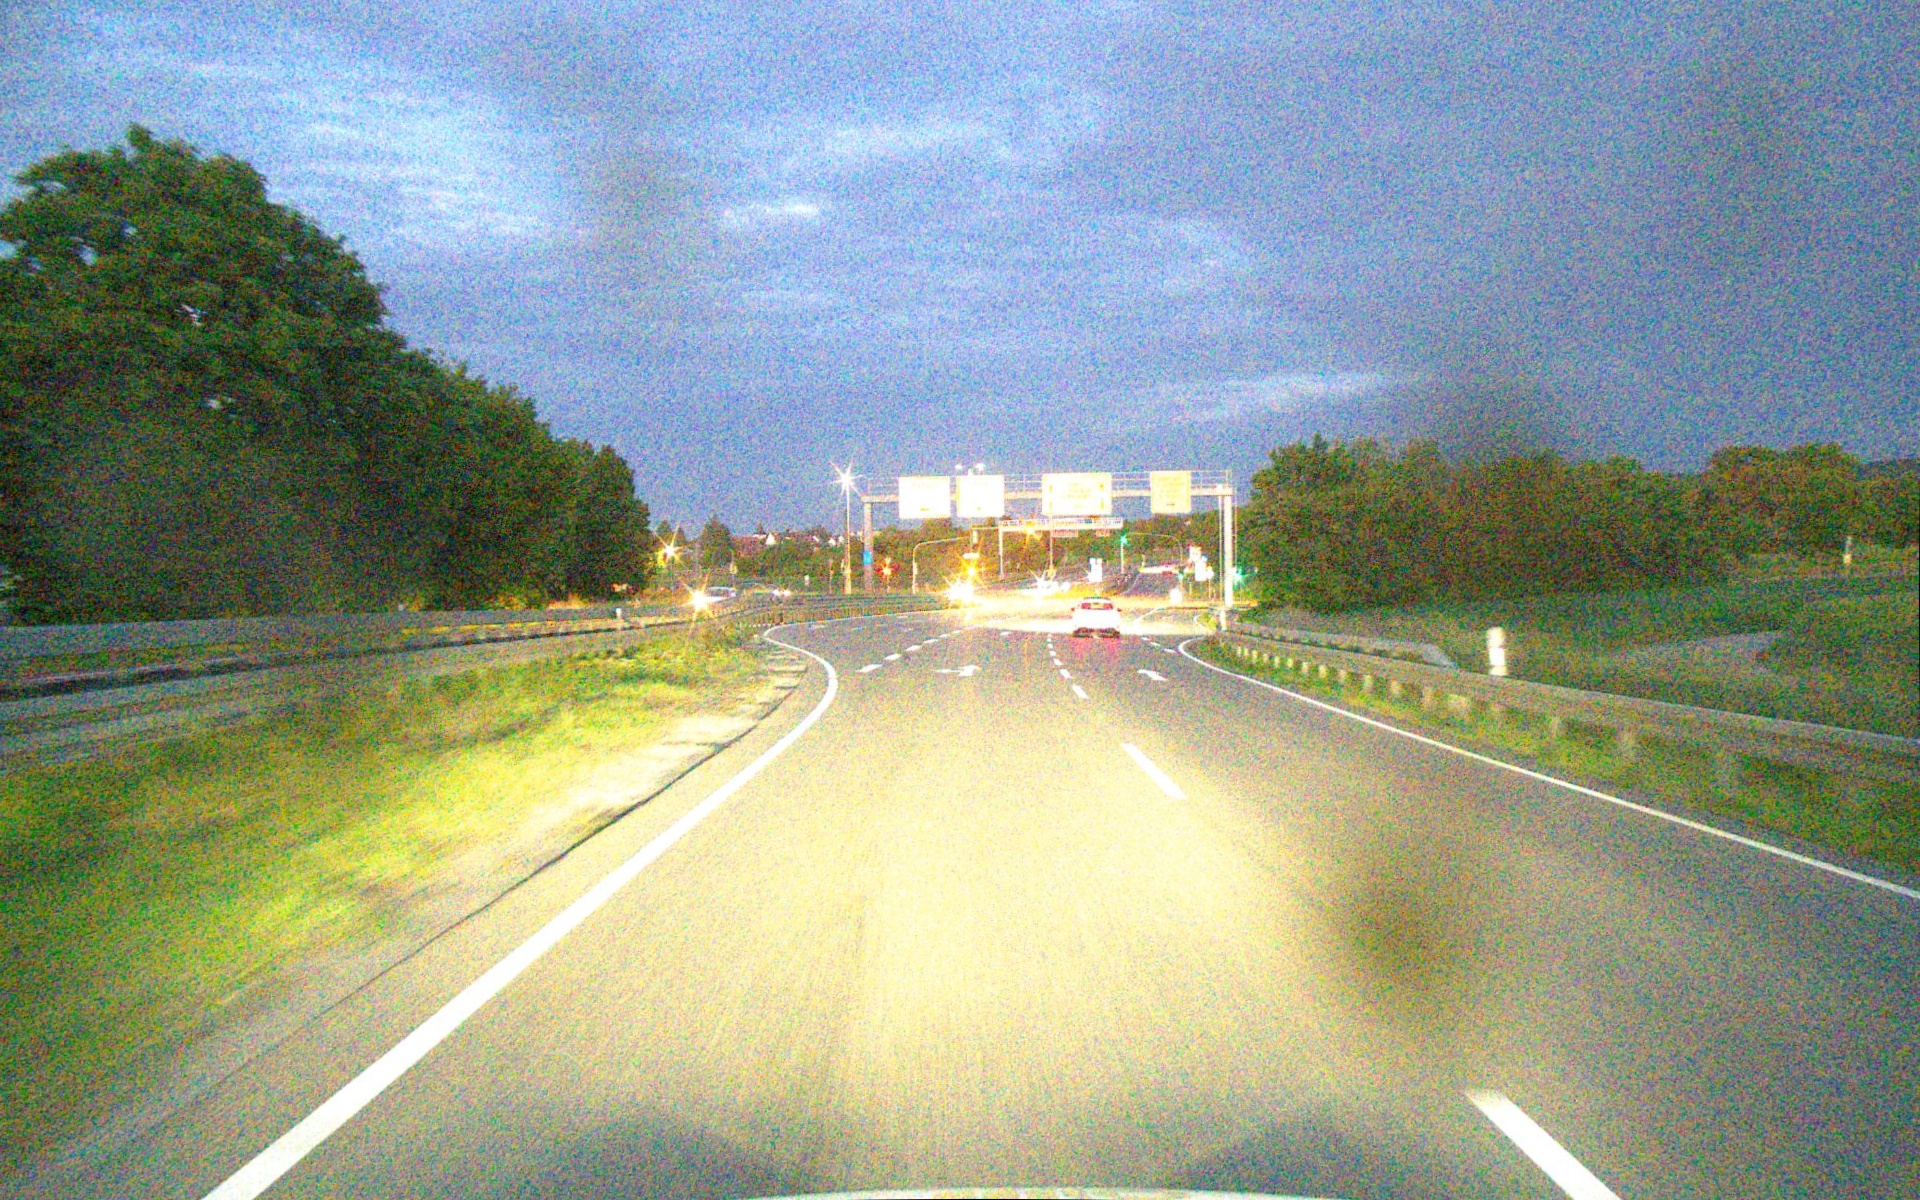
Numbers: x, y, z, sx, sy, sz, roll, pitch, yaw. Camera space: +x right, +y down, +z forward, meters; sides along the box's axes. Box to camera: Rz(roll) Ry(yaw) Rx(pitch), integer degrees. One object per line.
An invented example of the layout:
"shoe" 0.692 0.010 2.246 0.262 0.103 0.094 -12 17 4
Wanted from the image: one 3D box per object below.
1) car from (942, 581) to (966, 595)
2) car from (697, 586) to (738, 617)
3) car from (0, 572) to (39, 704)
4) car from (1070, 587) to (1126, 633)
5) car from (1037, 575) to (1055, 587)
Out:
"car" -0.624 -1.313 179.272 1.951 1.450 4.536 0 1 9
"car" -13.074 0.051 89.471 1.666 1.651 4.306 0 1 -1
"car" -12.956 0.524 19.518 1.735 1.670 4.657 -2 0 -4
"car" 5.130 0.352 61.972 1.965 1.639 3.847 0 0 3
"car" 11.523 -2.572 221.391 1.951 1.507 4.686 0 1 9
